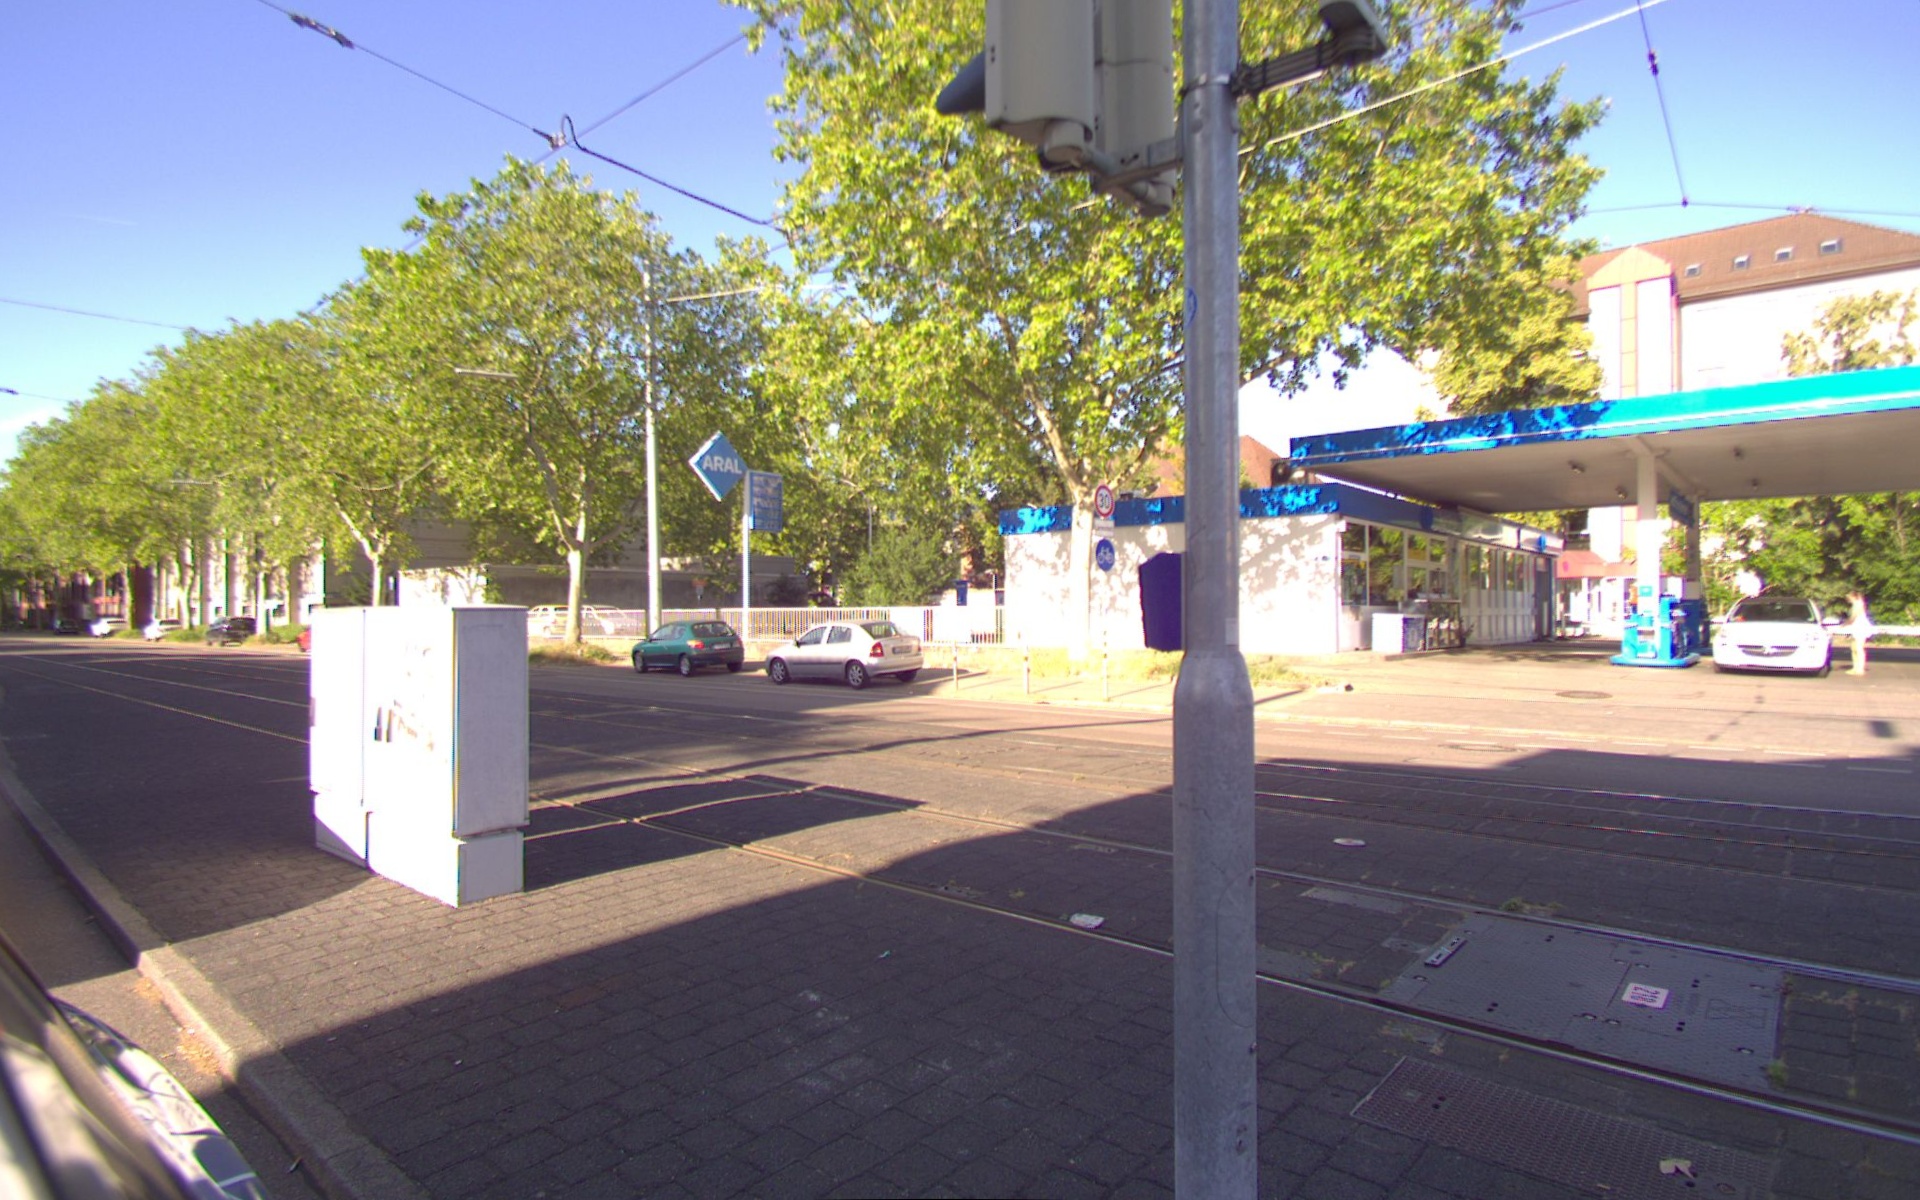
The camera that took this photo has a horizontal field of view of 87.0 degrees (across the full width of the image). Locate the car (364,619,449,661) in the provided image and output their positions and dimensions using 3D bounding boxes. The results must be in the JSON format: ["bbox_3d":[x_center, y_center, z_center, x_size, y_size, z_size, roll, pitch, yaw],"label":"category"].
[{"bbox_3d":[-21.941,1.549,40.061,3.652,1.541,1.802,-1,-1,41],"label":"car"}]

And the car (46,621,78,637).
[{"bbox_3d":[-85.320,2.728,96.131,3.998,1.525,1.779,-1,-1,41],"label":"car"}]

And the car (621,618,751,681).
[{"bbox_3d":[-7.329,1.276,26.941,3.519,1.475,1.670,-1,2,43],"label":"car"}]

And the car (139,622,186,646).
[{"bbox_3d":[-53.718,2.263,68.175,3.998,1.509,1.779,-1,-1,41],"label":"car"}]

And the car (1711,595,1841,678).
[{"bbox_3d":[16.026,0.676,19.915,1.812,1.453,3.947,-1,-1,39],"label":"car"}]

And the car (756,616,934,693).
[{"bbox_3d":[-2.631,1.158,22.671,3.965,1.475,1.771,-1,2,43],"label":"car"}]

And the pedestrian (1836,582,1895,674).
[{"bbox_3d":[17.356,0.533,19.411,0.760,1.705,0.579,-1,-2,37],"label":"pedestrian"}]

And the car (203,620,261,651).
[{"bbox_3d":[-40.753,1.951,56.601,3.998,1.674,1.779,-1,-1,41],"label":"car"}]

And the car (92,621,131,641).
[{"bbox_3d":[-66.681,2.399,79.542,3.998,1.525,1.779,-1,-1,41],"label":"car"}]

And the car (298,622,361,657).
[{"bbox_3d":[-28.555,1.750,45.809,3.045,1.519,1.620,-1,-1,41],"label":"car"}]
